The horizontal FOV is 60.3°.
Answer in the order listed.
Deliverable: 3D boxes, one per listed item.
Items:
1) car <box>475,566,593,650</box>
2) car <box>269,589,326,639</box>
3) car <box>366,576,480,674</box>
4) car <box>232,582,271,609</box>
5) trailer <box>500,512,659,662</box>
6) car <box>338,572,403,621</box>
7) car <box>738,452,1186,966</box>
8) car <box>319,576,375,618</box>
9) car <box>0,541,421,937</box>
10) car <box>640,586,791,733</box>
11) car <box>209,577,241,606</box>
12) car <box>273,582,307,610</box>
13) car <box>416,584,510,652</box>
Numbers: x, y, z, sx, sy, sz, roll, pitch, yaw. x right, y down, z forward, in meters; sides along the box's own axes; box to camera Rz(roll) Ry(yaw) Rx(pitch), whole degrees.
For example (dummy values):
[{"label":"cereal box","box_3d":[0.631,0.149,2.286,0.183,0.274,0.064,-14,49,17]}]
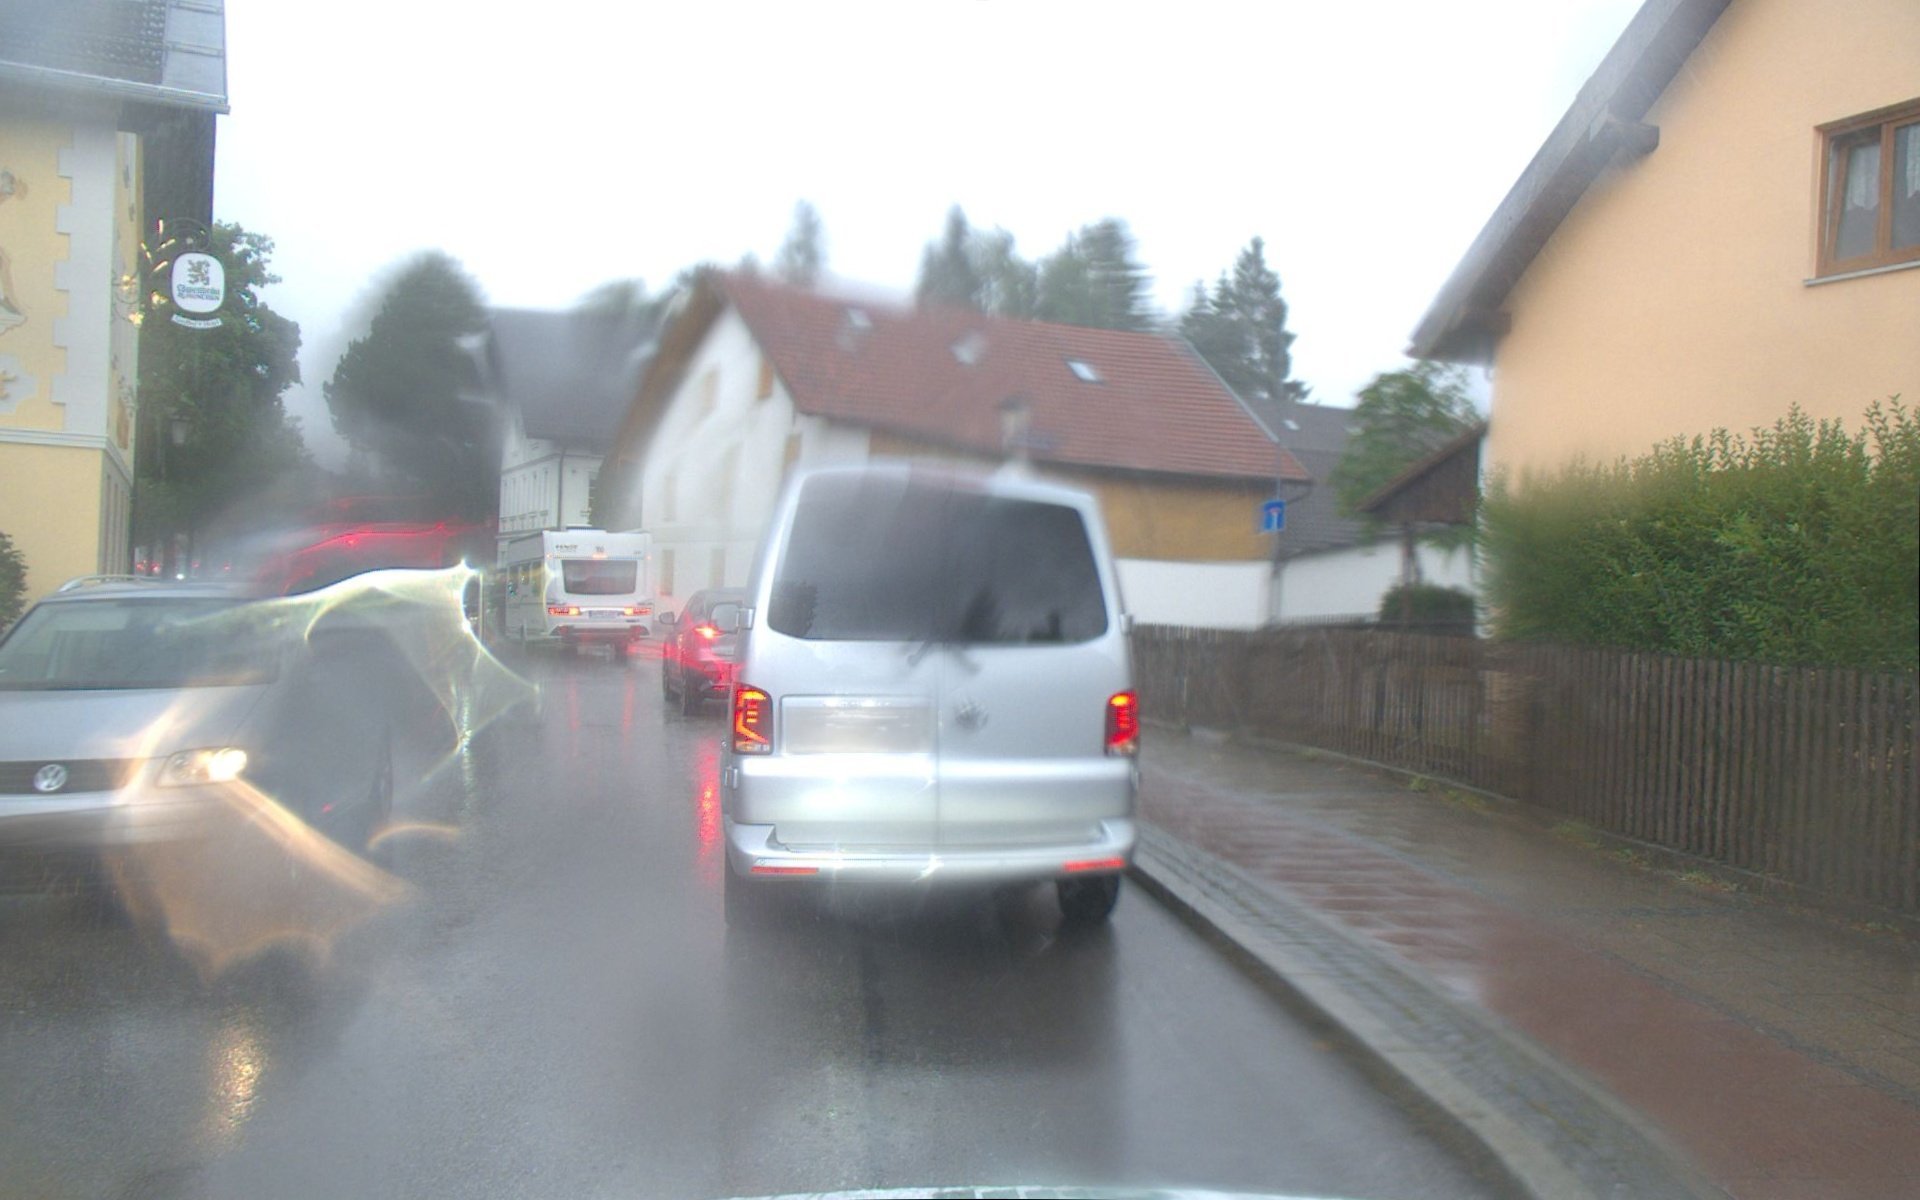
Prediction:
[{"label":"car","box_3d":[-10.624,0.180,41.001,2.026,1.932,5.137,1,0,-24]},{"label":"car","box_3d":[-27.406,0.558,68.362,1.828,2.006,4.661,0,0,-27]},{"label":"car","box_3d":[-9.651,0.421,29.577,1.566,1.638,3.511,0,0,-24]},{"label":"car","box_3d":[-39.173,-0.257,91.447,1.839,1.382,4.448,0,1,-25]},{"label":"trailer","box_3d":[-8.362,-0.269,35.858,2.241,2.955,6.087,1,0,-24]},{"label":"car","box_3d":[-25.854,-0.169,72.425,2.142,1.932,4.974,2,0,-25]},{"label":"car","box_3d":[-0.092,0.423,9.000,1.741,1.997,5.071,0,0,-2]},{"label":"car","box_3d":[-30.748,-0.170,82.907,2.142,1.932,4.974,2,0,-25]},{"label":"car","box_3d":[-4.224,0.601,9.142,1.720,1.707,3.992,0,0,-9]},{"label":"car","box_3d":[-3.254,0.657,21.369,1.678,1.611,4.673,-1,1,-11]},{"label":"car","box_3d":[-48.190,-0.584,108.443,1.838,1.788,4.449,-2,1,-24]},{"label":"car","box_3d":[-52.680,-0.324,130.072,2.142,1.932,4.974,2,0,-25]},{"label":"car","box_3d":[-16.178,0.551,53.693,2.142,1.932,4.974,2,0,-25]}]
